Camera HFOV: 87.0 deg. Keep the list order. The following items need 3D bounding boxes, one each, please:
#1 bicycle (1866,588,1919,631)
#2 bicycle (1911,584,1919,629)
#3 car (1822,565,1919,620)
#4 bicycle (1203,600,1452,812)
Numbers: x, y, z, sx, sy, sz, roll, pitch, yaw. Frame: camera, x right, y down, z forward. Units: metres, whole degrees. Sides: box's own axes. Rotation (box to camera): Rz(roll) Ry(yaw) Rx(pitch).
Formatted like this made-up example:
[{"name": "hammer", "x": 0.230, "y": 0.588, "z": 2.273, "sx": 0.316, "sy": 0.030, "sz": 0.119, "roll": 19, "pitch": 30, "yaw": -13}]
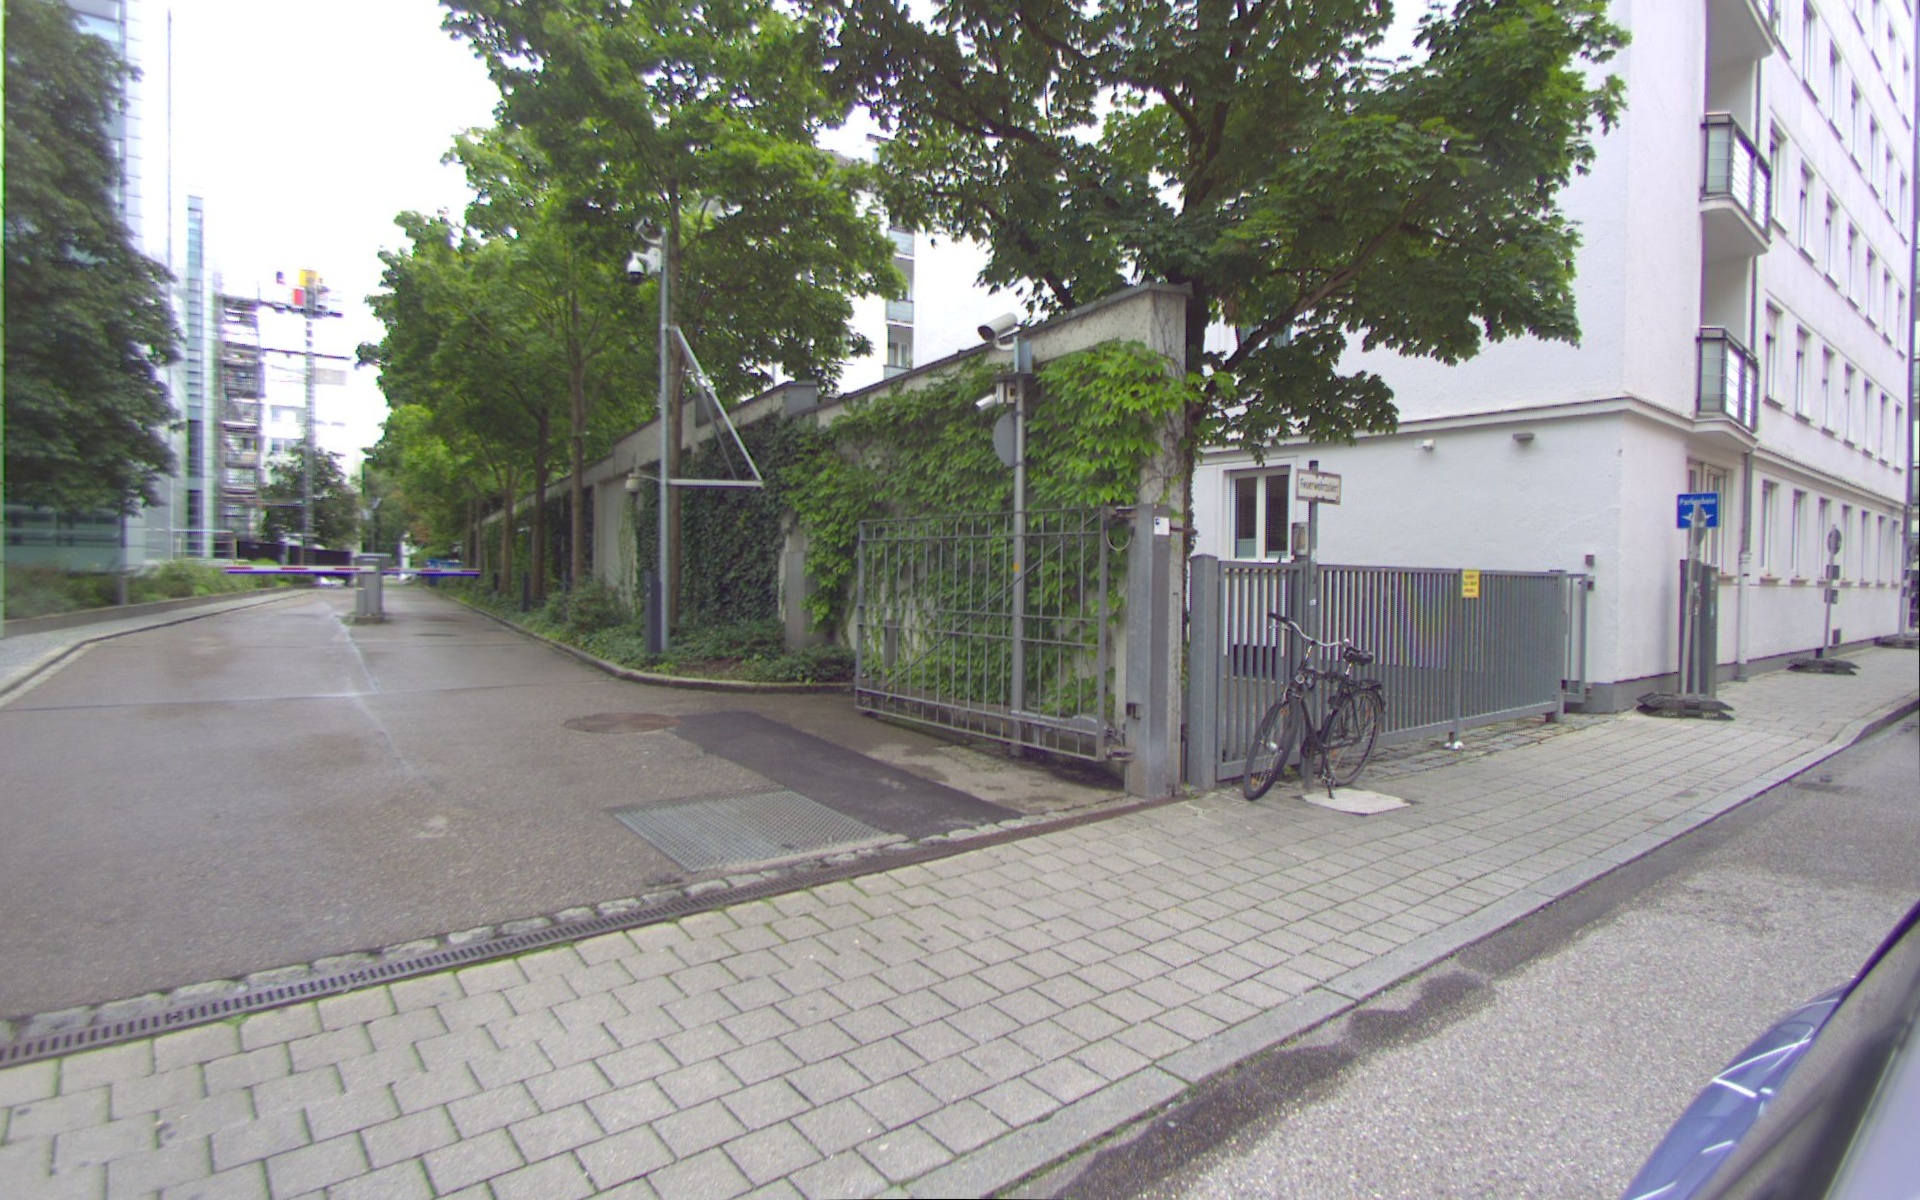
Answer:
[{"name": "bicycle", "x": 24.738, "y": 0.249, "z": 26.436, "sx": 1.490, "sy": 1.056, "sz": 0.394, "roll": 4, "pitch": 4, "yaw": 33}, {"name": "bicycle", "x": 26.325, "y": 0.206, "z": 27.363, "sx": 0.395, "sy": 1.219, "sz": 1.493, "roll": 3, "pitch": 3, "yaw": 25}, {"name": "car", "x": 33.881, "y": -0.262, "z": 35.873, "sx": 1.895, "sy": 1.914, "sz": 4.688, "roll": 1, "pitch": 2, "yaw": -31}, {"name": "bicycle", "x": 2.495, "y": 0.656, "z": 6.763, "sx": 1.800, "sy": 1.213, "sz": 0.709, "roll": 3, "pitch": -1, "yaw": -40}]
